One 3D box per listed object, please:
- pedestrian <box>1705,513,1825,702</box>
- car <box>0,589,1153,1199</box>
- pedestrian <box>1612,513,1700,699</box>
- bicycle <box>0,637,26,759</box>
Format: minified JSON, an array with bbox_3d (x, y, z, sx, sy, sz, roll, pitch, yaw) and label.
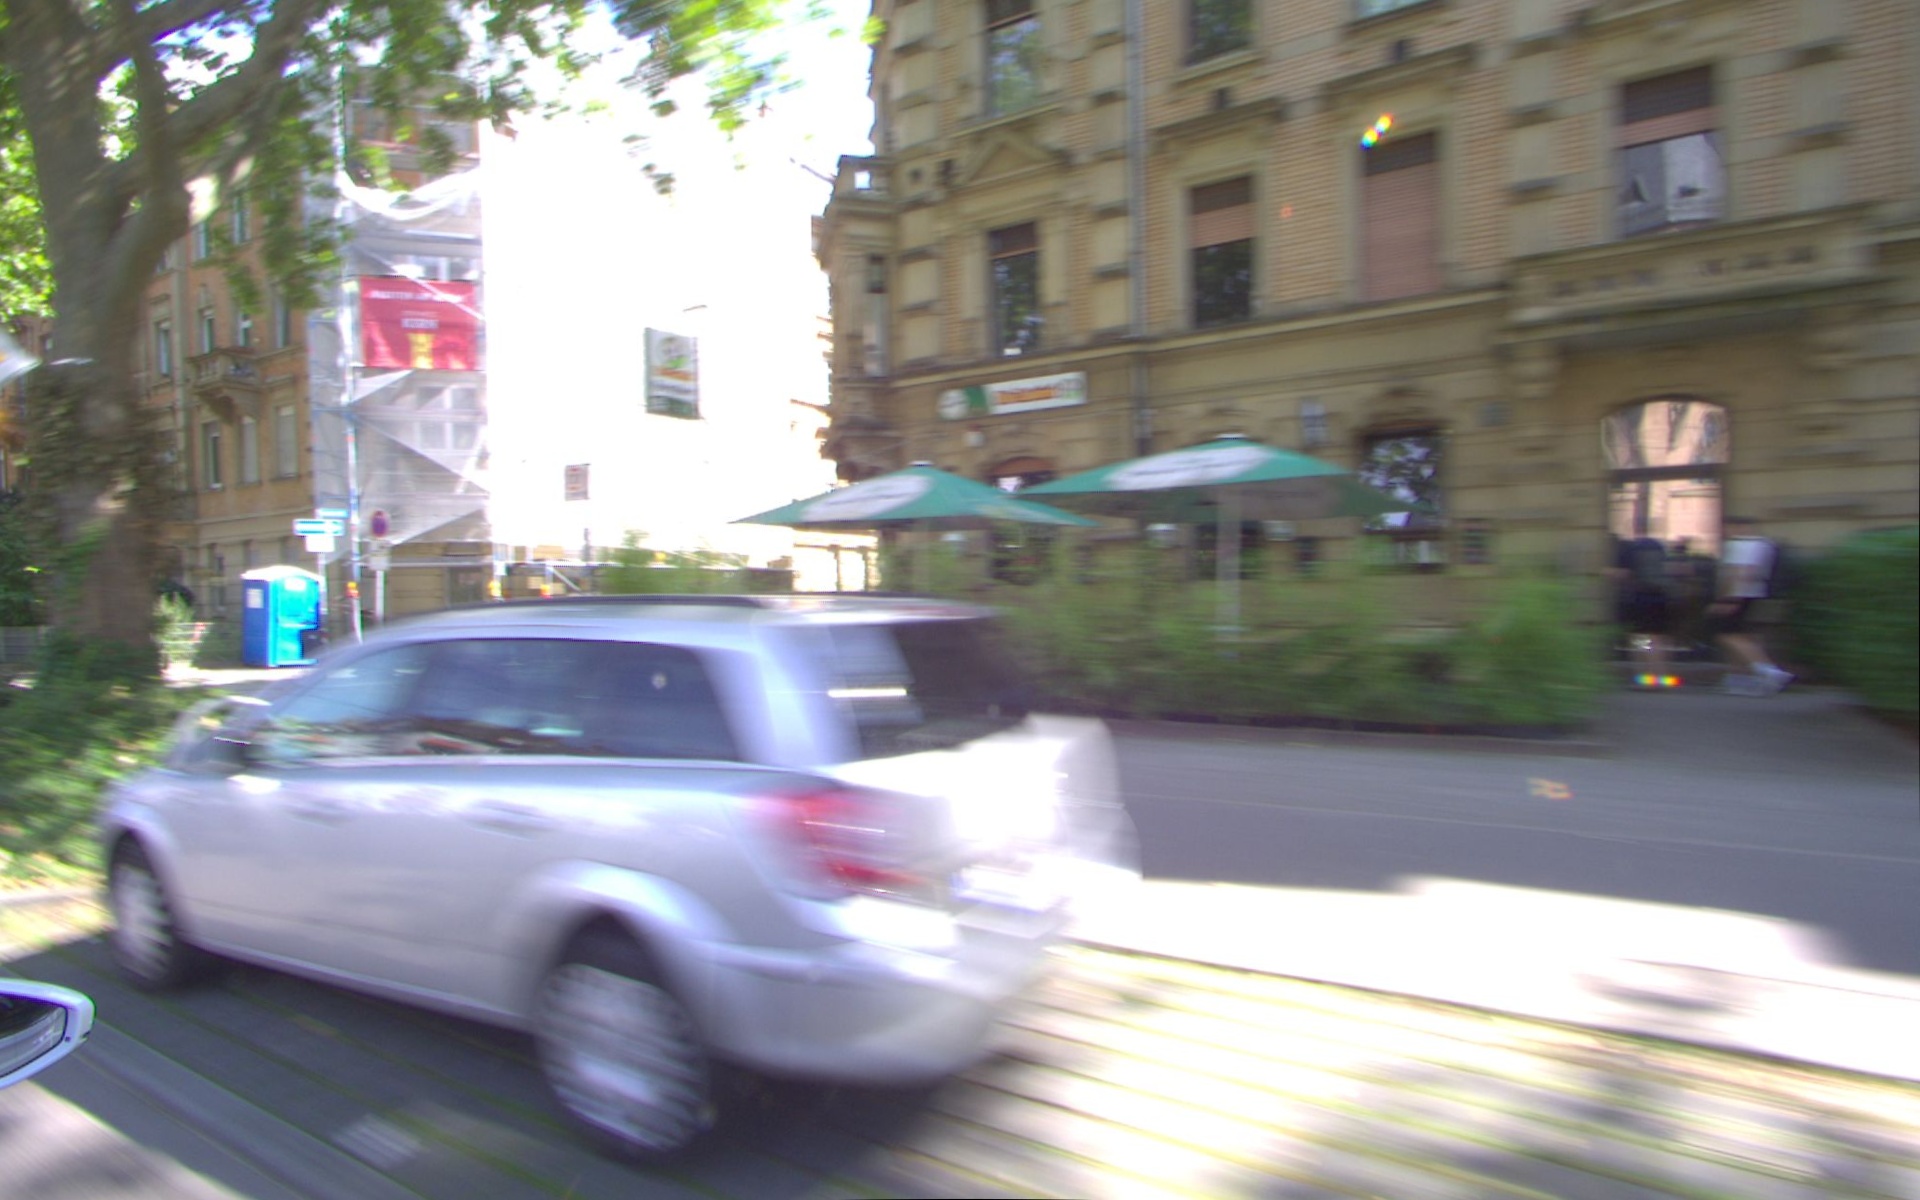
[{"bbox_3d":[8.066,0.064,10.079,0.726,1.810,0.849,-1,3,23],"label":"pedestrian"},{"bbox_3d":[-1.651,0.768,3.988,4.422,1.528,1.831,-1,1,28],"label":"car"},{"bbox_3d":[7.408,0.051,10.692,0.728,1.877,0.847,0,3,32],"label":"pedestrian"},{"bbox_3d":[-9.085,0.922,9.121,0.416,1.120,1.609,-1,1,-28],"label":"bicycle"}]
